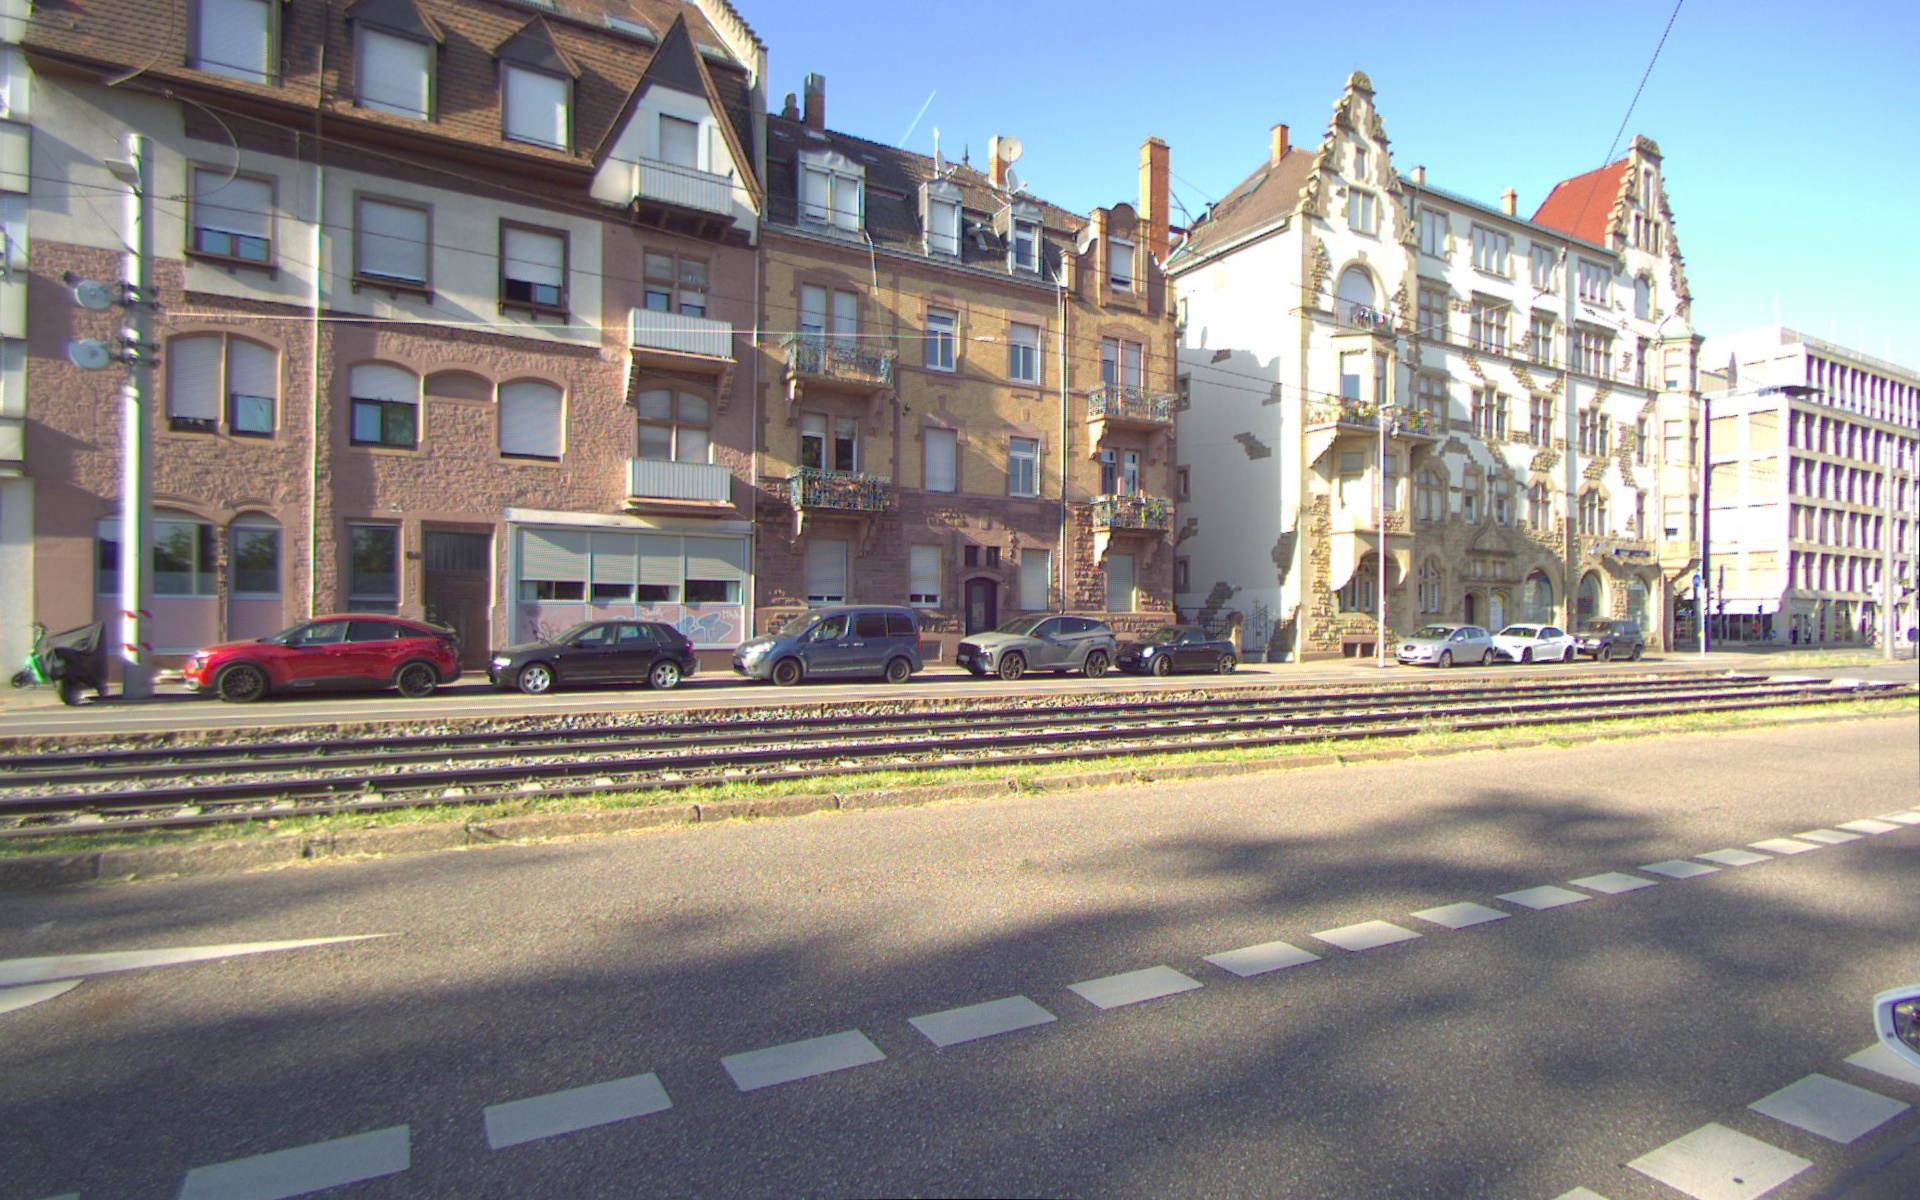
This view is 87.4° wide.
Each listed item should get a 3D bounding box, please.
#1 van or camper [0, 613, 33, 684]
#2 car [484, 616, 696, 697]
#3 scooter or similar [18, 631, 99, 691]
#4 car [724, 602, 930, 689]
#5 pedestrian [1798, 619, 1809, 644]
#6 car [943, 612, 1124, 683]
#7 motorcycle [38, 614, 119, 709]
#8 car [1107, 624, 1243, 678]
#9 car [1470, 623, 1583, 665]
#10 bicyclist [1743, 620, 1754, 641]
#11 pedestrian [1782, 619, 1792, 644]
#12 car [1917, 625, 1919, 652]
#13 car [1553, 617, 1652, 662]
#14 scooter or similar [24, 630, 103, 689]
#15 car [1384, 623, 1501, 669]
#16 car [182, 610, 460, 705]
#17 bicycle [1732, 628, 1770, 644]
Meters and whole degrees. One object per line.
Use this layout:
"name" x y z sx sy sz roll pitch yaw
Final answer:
"van or camper" -19.205 0.942 19.988 0.794 1.375 1.418 1 -1 -29
"car" -7.607 1.106 20.719 3.882 1.457 1.686 1 2 -31
"scooter or similar" -16.953 1.139 18.897 1.108 1.083 0.203 1 1 -30
"car" -3.082 1.009 23.356 4.361 1.782 1.878 1 2 -28
"pedestrian" 64.274 2.401 76.557 0.522 1.868 0.443 0 -1 23
"car" 1.953 1.192 26.323 4.450 1.645 1.846 1 2 -31
"motorcycle" -14.825 0.997 16.942 0.621 1.441 1.847 0 1 -29
"car" 6.144 1.406 28.643 3.683 1.373 1.614 1 2 -31
"car" 21.490 1.631 38.066 4.603 1.442 1.708 1 1 -32
"bicyclist" 63.018 2.423 80.234 0.634 1.708 0.574 -1 -2 43
"pedestrian" 63.507 2.414 77.126 0.464 1.868 0.443 0 -1 23
"car" 53.729 2.097 54.437 4.120 1.476 1.810 1 -2 -33
"car" 26.084 1.563 40.761 4.169 1.698 1.708 1 1 -32
"scooter or similar" -17.079 1.128 19.149 1.108 1.083 0.203 1 1 -30
"car" 16.840 1.566 35.021 4.177 1.450 1.700 1 1 -32
"car" -11.685 0.996 18.662 4.162 1.519 1.846 1 2 -31
"bicycle" 63.110 2.876 80.140 2.356 1.231 0.574 -1 -2 43
